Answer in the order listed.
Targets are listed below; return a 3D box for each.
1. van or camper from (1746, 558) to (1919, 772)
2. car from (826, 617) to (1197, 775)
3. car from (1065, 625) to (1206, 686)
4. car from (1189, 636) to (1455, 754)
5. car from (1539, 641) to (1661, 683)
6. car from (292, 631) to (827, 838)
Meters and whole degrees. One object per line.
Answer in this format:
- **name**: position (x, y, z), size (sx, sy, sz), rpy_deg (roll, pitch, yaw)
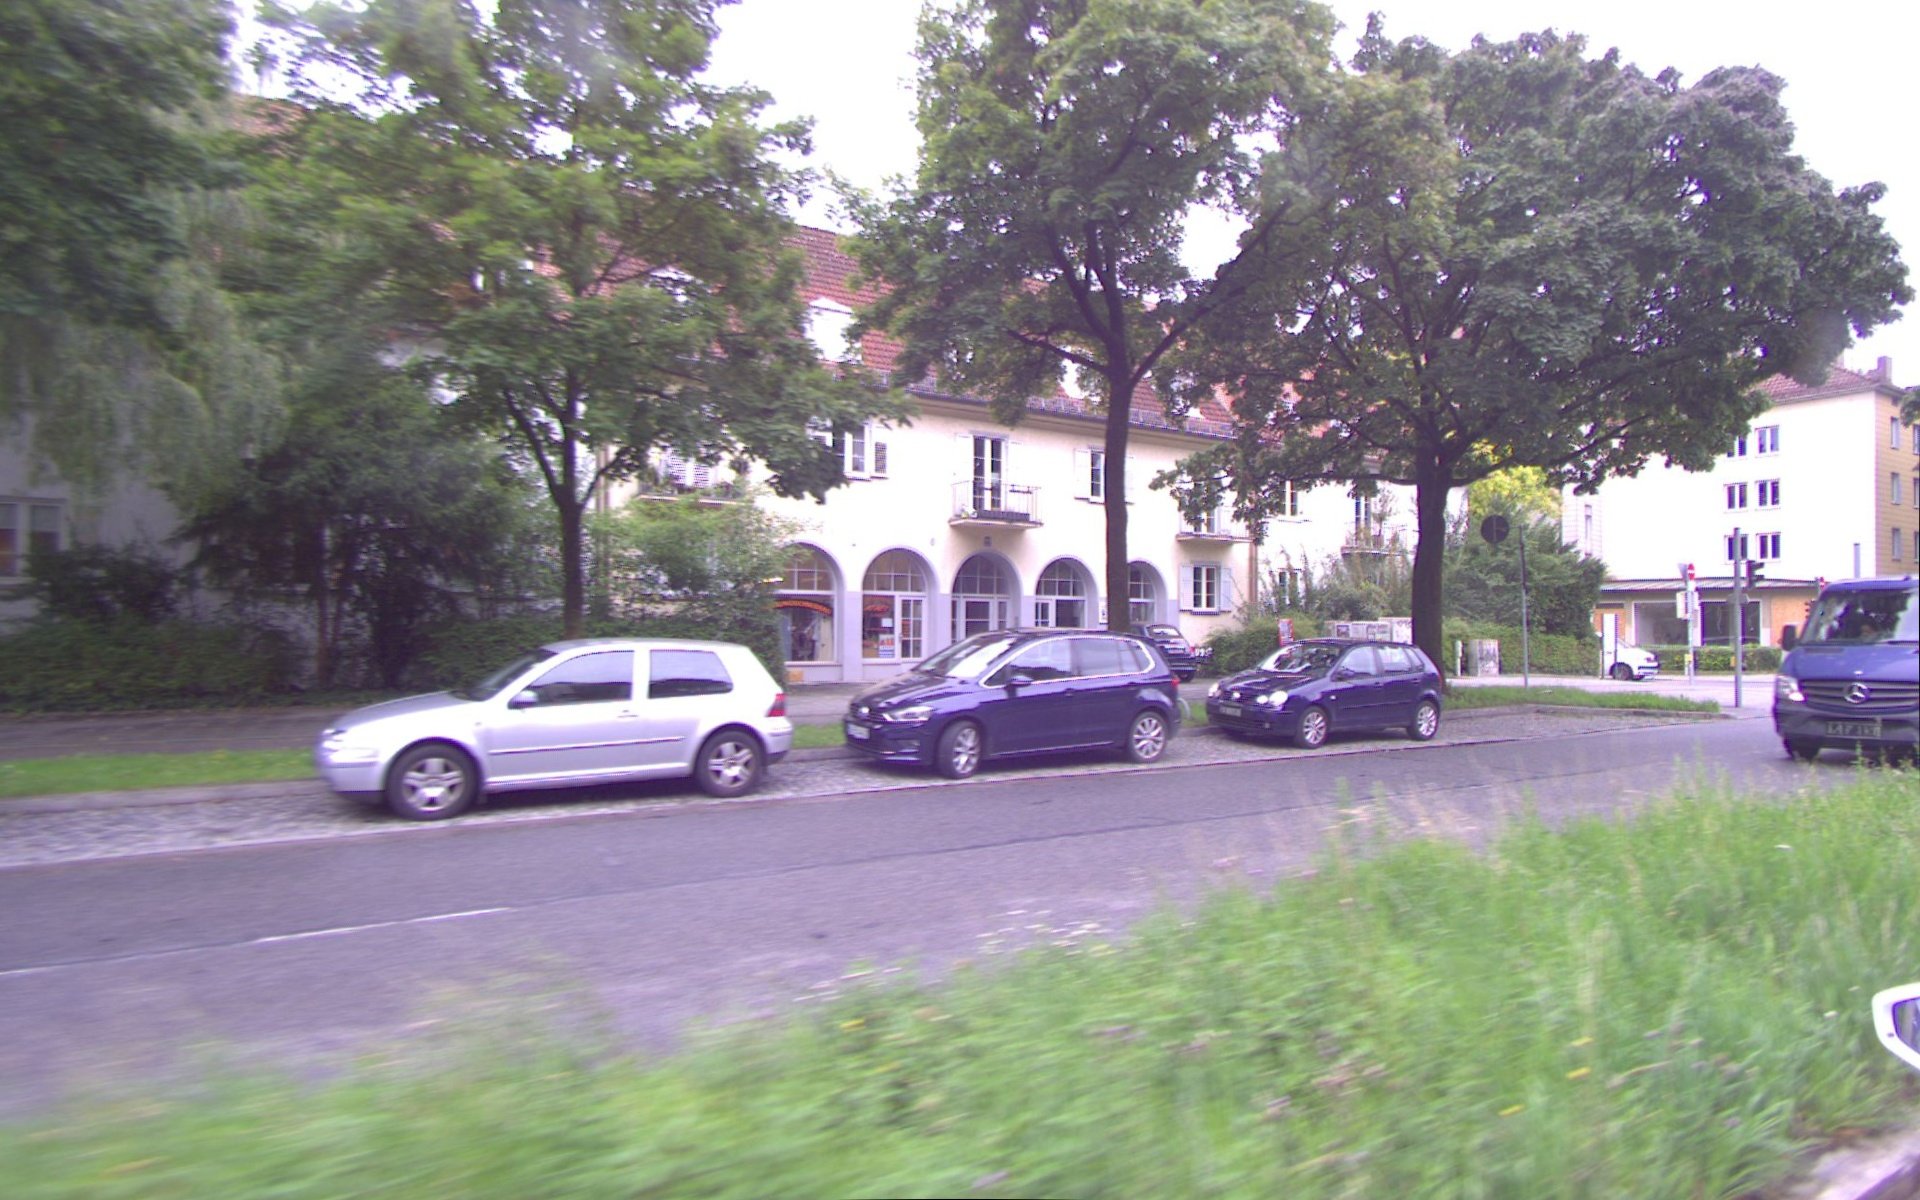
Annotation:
- **van or camper**: position (12.541, 0.768, 12.808), size (5.954, 2.290, 2.013), rpy_deg (1, -2, -32)
- **car**: position (0.701, 1.030, 11.921), size (4.253, 1.583, 1.657), rpy_deg (1, -2, -33)
- **car**: position (4.494, 1.394, 26.116), size (1.653, 1.481, 3.613), rpy_deg (1, -2, -32)
- **car**: position (5.368, 1.309, 14.813), size (3.790, 1.469, 1.557), rpy_deg (1, 1, -29)
- **car**: position (25.768, 2.470, 40.558), size (1.656, 1.583, 3.839), rpy_deg (1, -2, -36)
- **car**: position (-3.572, 1.071, 9.382), size (4.324, 1.464, 1.658), rpy_deg (1, 1, -31)
